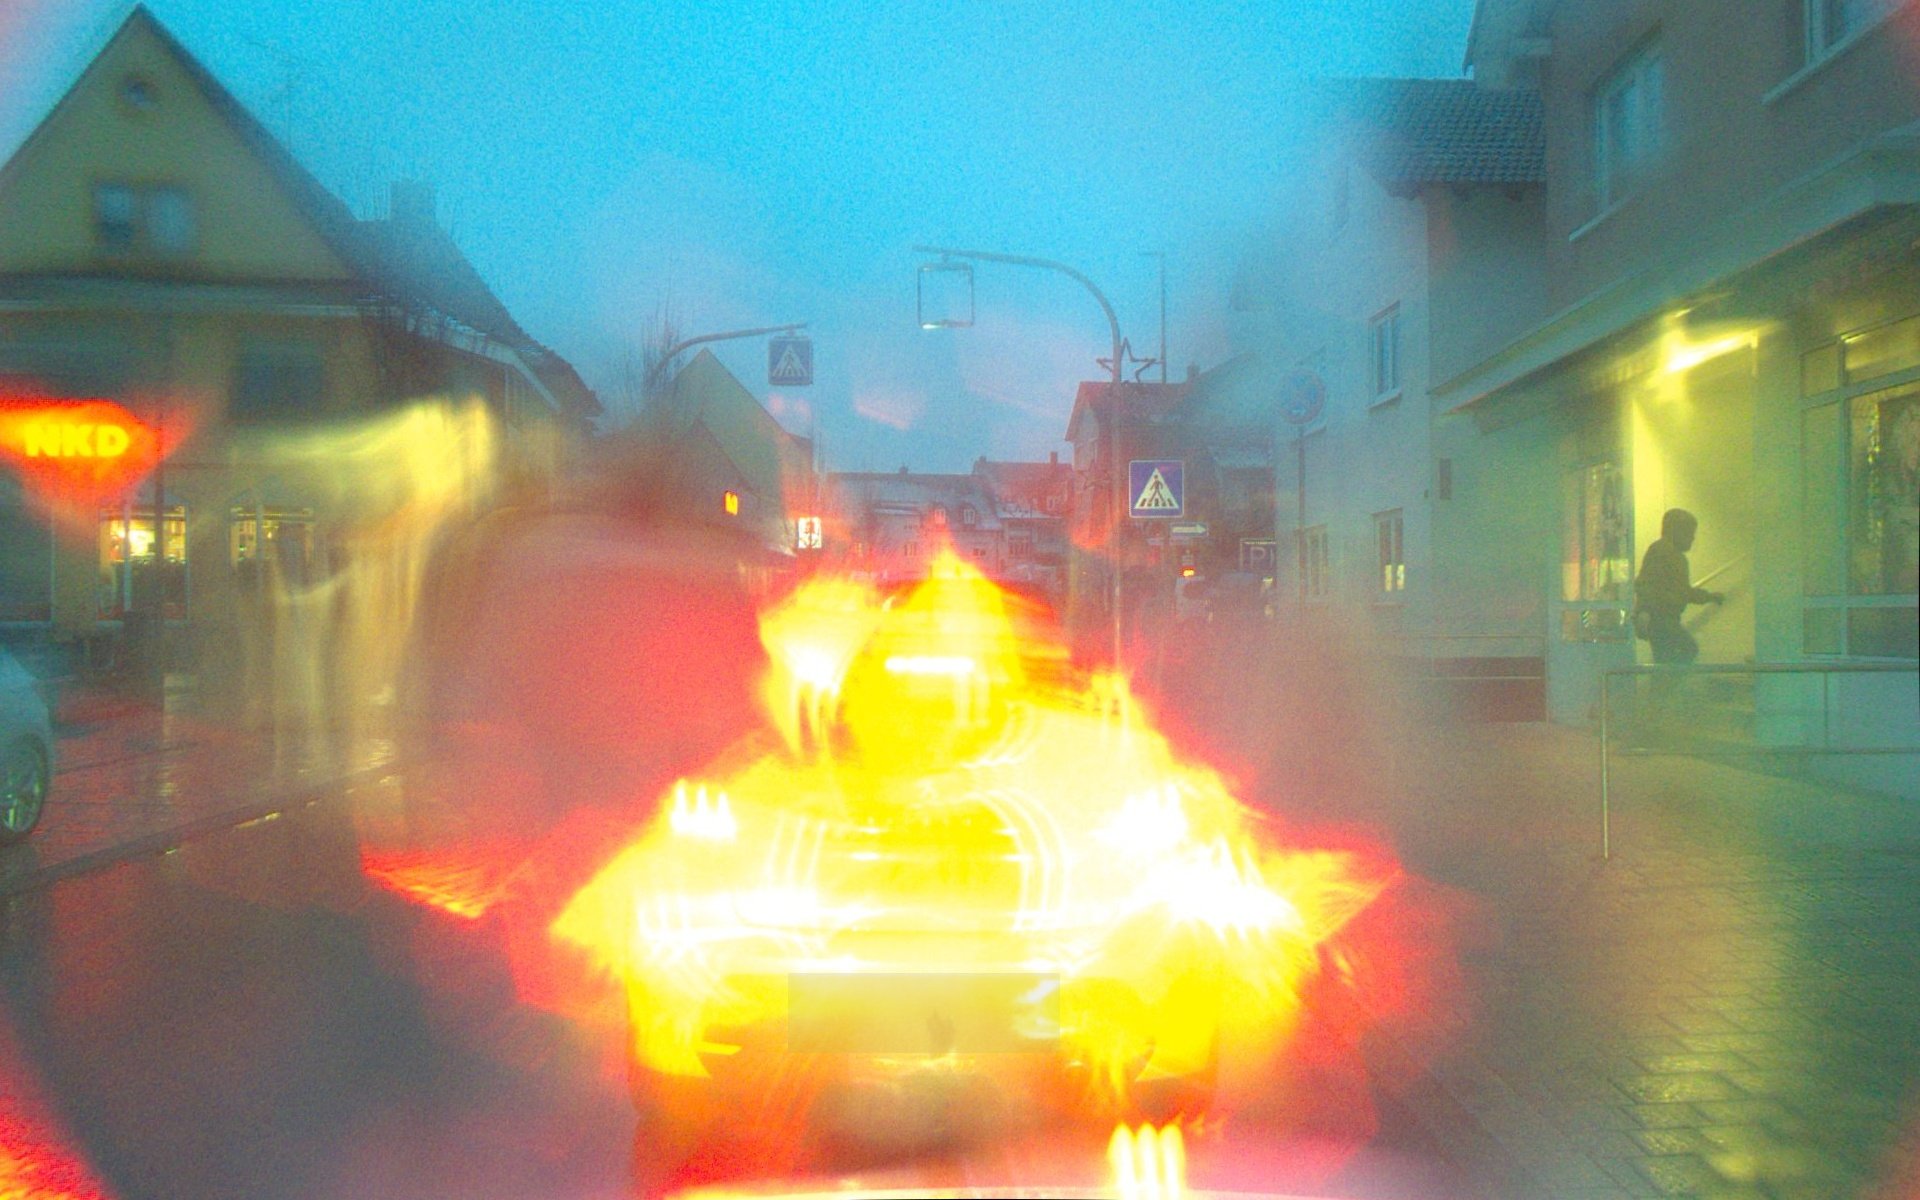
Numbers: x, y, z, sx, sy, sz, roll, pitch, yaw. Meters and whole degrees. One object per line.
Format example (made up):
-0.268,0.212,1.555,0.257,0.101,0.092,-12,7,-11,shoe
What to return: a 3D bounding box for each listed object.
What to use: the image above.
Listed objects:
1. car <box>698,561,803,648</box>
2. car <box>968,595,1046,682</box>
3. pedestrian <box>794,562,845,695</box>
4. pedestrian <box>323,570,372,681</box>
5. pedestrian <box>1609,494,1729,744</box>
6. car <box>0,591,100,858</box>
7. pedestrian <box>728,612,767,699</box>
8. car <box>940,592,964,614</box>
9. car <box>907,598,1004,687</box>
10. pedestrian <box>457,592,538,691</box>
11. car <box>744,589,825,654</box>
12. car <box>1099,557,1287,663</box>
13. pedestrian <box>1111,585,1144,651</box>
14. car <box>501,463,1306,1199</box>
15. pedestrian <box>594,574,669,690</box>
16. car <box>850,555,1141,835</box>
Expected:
-5.139,0.105,41.084,1.952,2.049,4.362,0,0,1,car
1.145,0.920,41.993,1.609,2.049,3.998,-1,0,-3,car
-2.066,0.408,24.228,0.689,1.909,0.616,1,1,-7,pedestrian
-9.882,0.406,26.713,0.576,1.773,0.683,0,0,-5,pedestrian
5.651,0.147,13.222,0.649,1.921,0.824,1,-1,6,pedestrian
-6.360,0.705,8.651,1.636,1.543,3.999,2,0,-1,car
-3.098,0.809,24.129,0.542,1.254,0.433,0,0,-5,pedestrian
-0.551,0.178,113.380,1.503,1.267,3.647,-5,1,0,car
-0.036,0.786,32.856,1.789,1.629,4.582,0,0,1,car
-7.270,0.655,26.042,0.872,1.442,0.776,6,-1,4,pedestrian
-5.051,0.594,48.105,1.953,1.783,4.360,0,0,-1,car
4.661,0.205,33.475,3.620,2.049,1.690,1,-1,2,car
5.230,0.559,51.620,0.995,2.049,1.276,0,0,4,pedestrian
-0.058,0.557,6.347,1.952,1.827,4.650,0,1,2,car
-5.155,0.486,26.041,0.953,1.773,0.961,1,1,0,pedestrian
0.241,0.595,12.138,1.761,1.691,4.000,1,0,1,car
